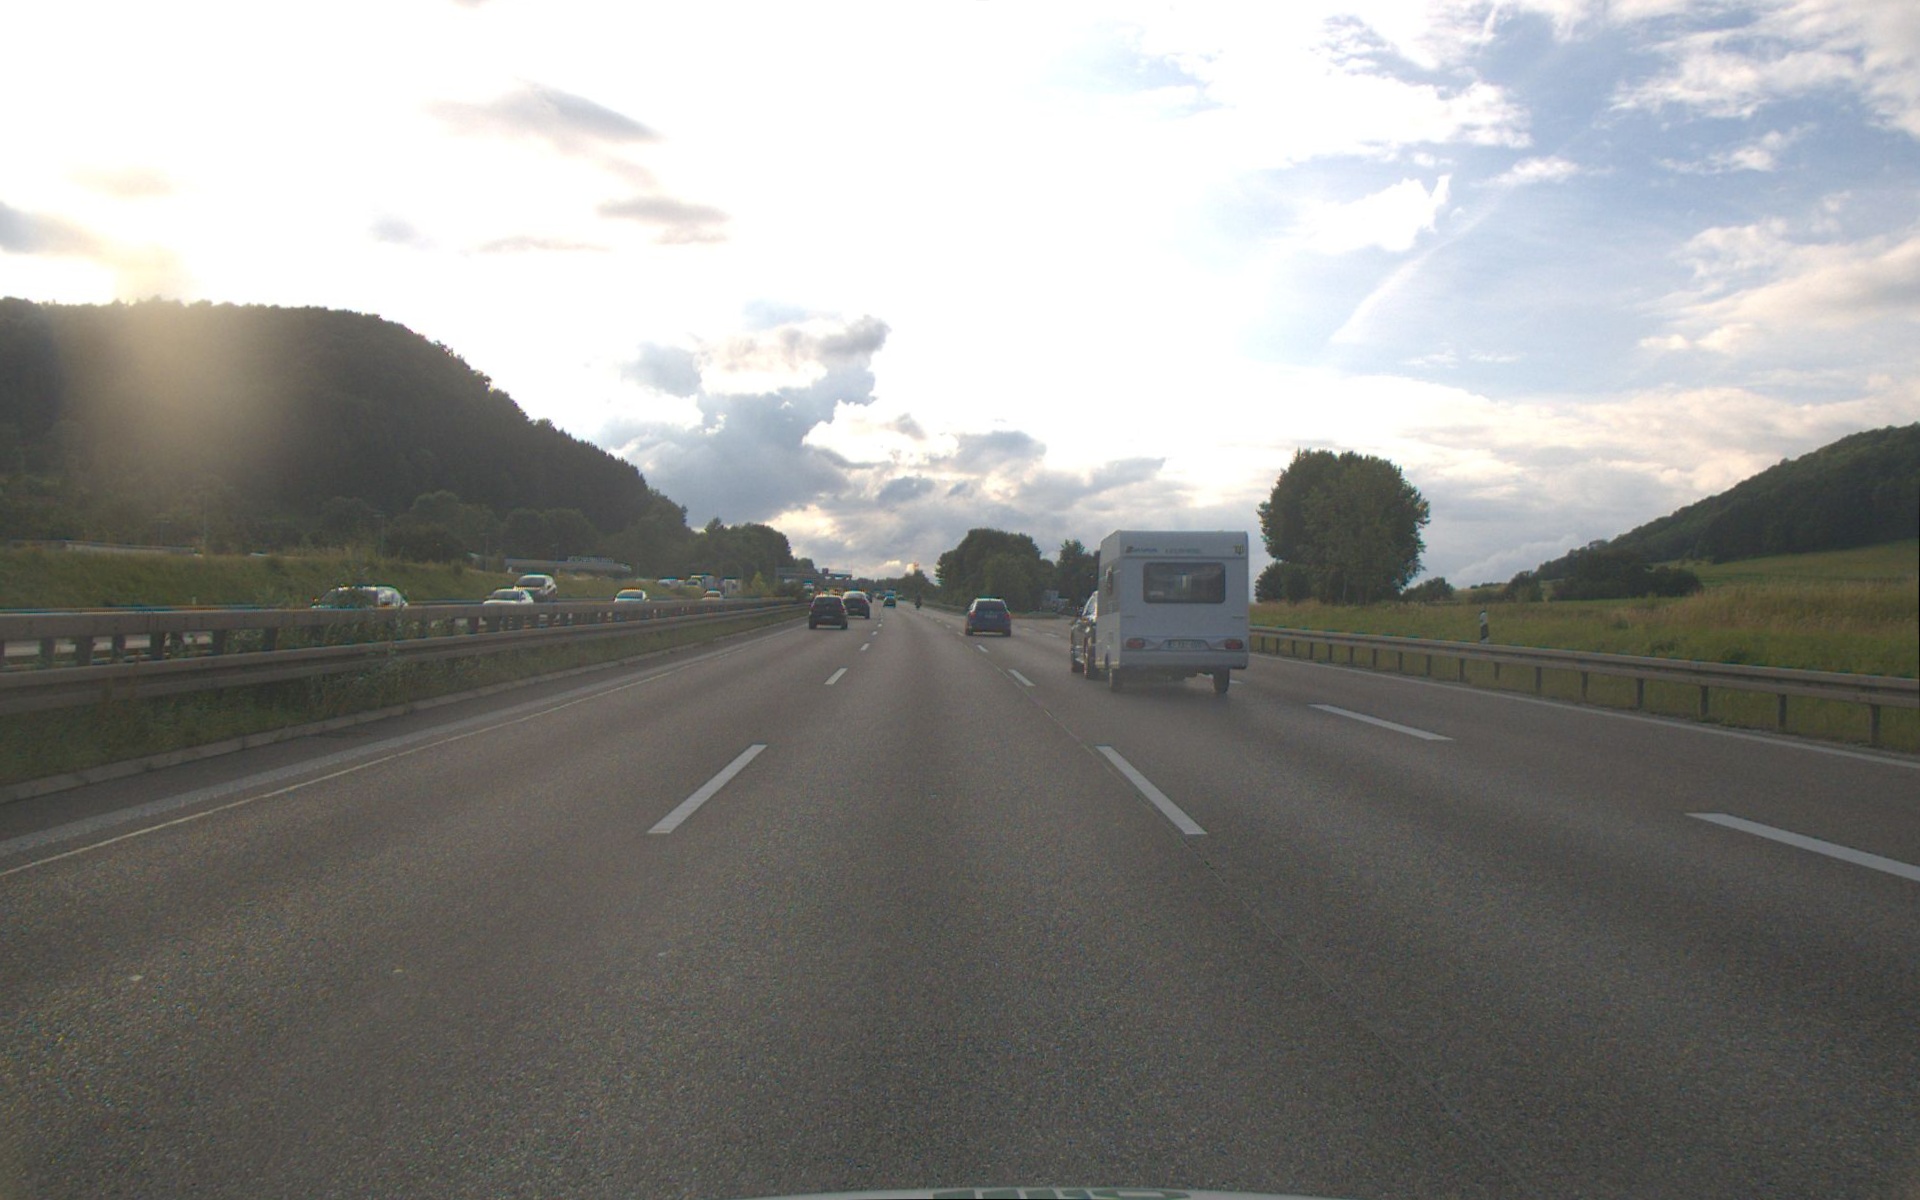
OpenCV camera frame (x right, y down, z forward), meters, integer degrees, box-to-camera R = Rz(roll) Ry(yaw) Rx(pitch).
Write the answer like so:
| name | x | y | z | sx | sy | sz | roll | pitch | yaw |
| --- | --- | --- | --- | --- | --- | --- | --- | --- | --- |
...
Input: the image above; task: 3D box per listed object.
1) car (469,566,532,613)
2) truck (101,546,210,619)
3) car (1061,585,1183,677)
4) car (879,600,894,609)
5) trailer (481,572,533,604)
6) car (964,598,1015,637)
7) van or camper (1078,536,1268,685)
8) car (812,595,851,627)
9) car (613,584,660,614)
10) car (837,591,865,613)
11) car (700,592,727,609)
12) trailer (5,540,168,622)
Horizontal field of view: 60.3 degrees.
| name | x | y | z | sx | sy | sz | roll | pitch | yaw |
| --- | --- | --- | --- | --- | --- | --- | --- | --- | --- |
| car | -21.758 | -0.488 | 78.425 | 1.912 | 2.150 | 4.518 | 0 | 0 | -3 |
| truck | -42.915 | -0.902 | 88.466 | 2.824 | 3.755 | 6.588 | 0 | 0 | -3 |
| car | 3.140 | 0.563 | 32.863 | 1.750 | 1.681 | 4.479 | 1 | 0 | -3 |
| car | -10.248 | 0.613 | 229.768 | 1.718 | 1.243 | 3.994 | 0 | 0 | -7 |
| trailer | -46.328 | -1.170 | 169.514 | 2.527 | 2.903 | 11.375 | 1 | -1 | -2 |
| car | 1.127 | 0.694 | 65.409 | 1.731 | 1.458 | 3.997 | -1 | -1 | -3 |
| van or camper | 3.496 | 0.230 | 28.343 | 2.496 | 2.279 | 5.327 | 1 | -2 | -1 |
| car | -5.690 | 0.480 | 73.410 | 1.507 | 1.371 | 3.676 | 1 | 0 | -1 |
| car | -17.599 | -0.041 | 90.155 | 1.912 | 1.501 | 3.871 | -3 | 0 | -3 |
| car | -7.033 | 0.106 | 107.139 | 1.533 | 1.404 | 4.000 | 0 | 0 | 0 |
| car | -21.030 | 0.047 | 141.082 | 1.912 | 1.473 | 3.871 | 0 | 0 | -3 |
| trailer | -42.608 | -0.891 | 81.171 | 2.819 | 3.761 | 10.368 | 0 | 0 | -2 |
